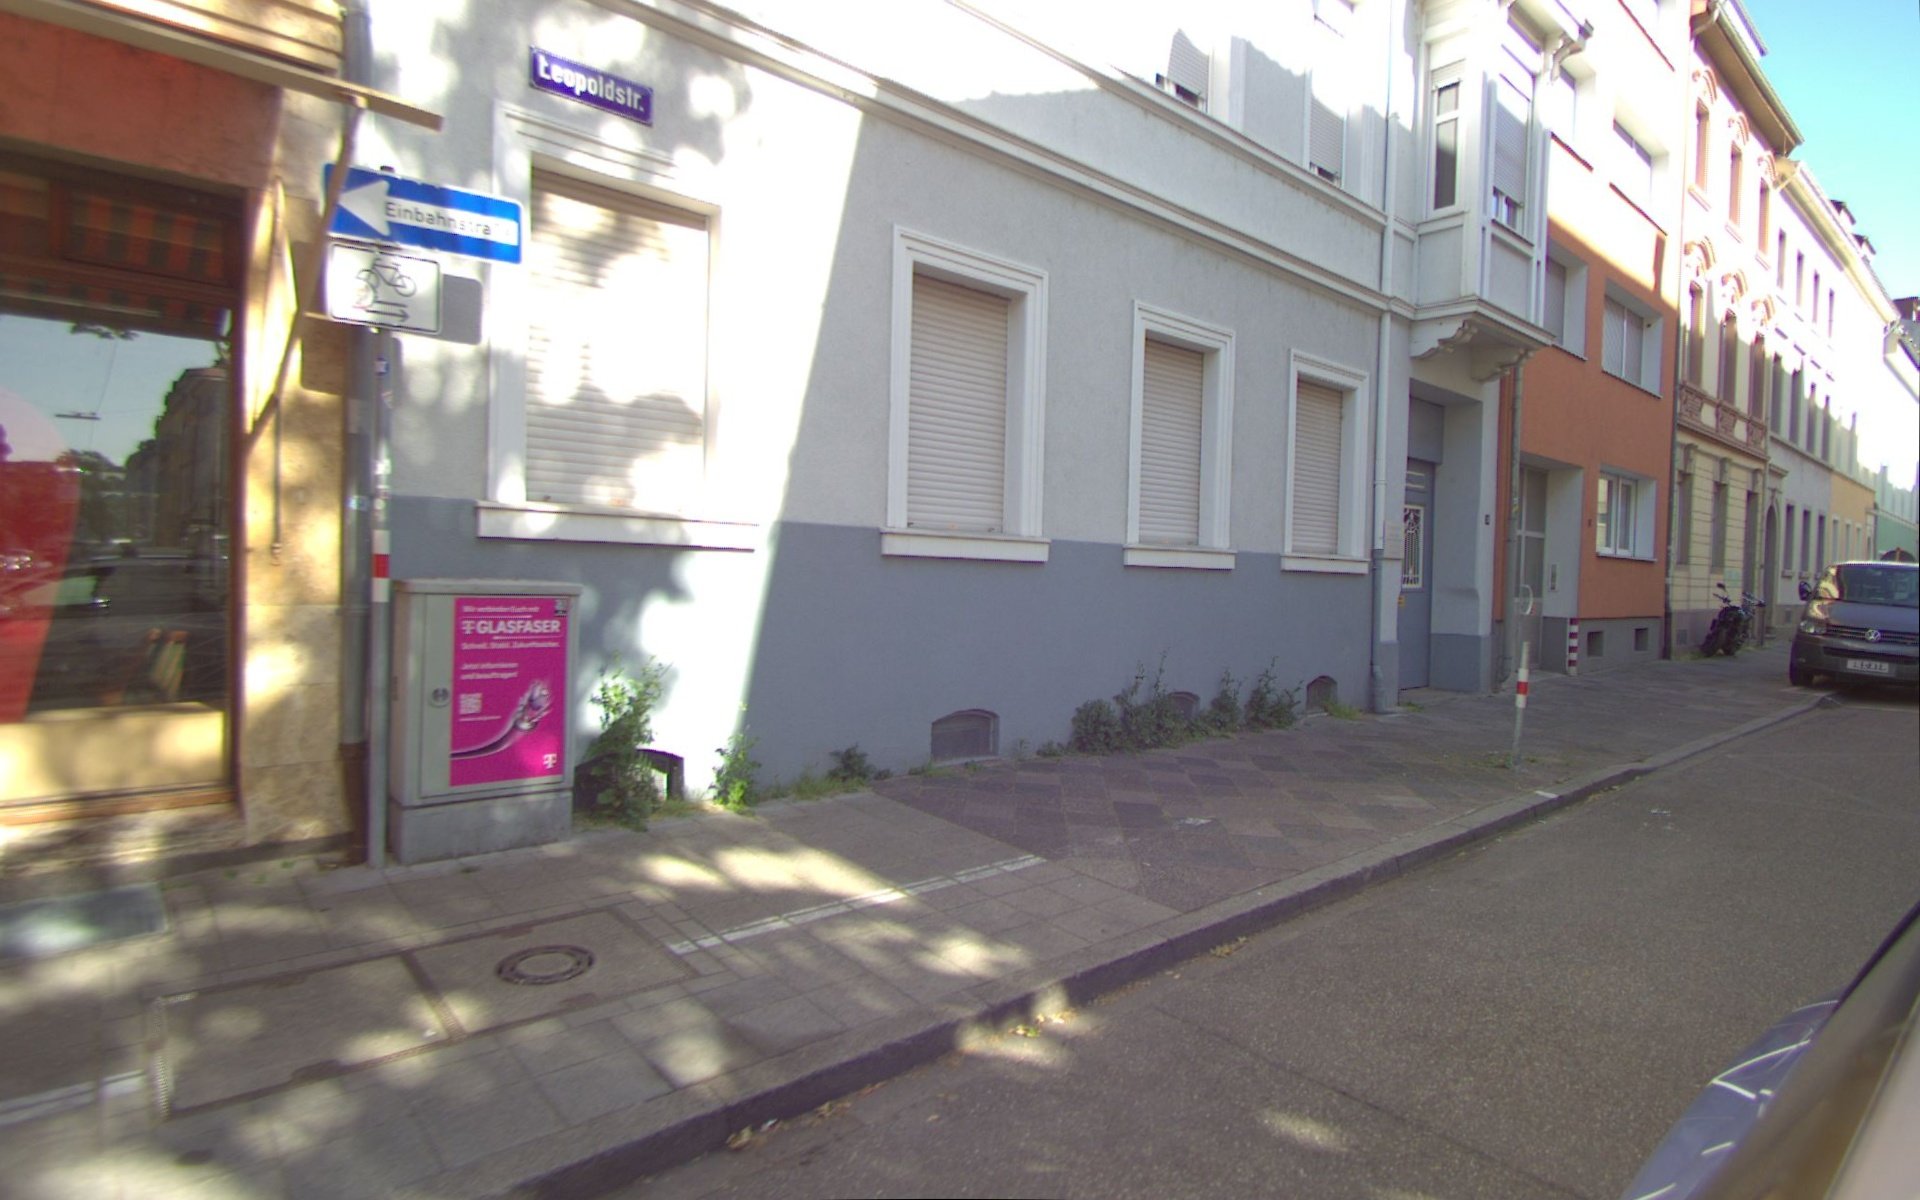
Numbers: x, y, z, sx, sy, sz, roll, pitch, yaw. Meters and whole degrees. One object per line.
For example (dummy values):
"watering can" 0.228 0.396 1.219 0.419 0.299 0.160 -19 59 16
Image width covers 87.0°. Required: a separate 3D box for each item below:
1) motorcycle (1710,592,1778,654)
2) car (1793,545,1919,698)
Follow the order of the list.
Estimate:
"motorcycle" 15.095 0.409 19.462 2.324 1.057 0.637 -2 3 -43
"car" 14.499 0.259 15.524 4.815 2.054 1.972 -1 1 -42
